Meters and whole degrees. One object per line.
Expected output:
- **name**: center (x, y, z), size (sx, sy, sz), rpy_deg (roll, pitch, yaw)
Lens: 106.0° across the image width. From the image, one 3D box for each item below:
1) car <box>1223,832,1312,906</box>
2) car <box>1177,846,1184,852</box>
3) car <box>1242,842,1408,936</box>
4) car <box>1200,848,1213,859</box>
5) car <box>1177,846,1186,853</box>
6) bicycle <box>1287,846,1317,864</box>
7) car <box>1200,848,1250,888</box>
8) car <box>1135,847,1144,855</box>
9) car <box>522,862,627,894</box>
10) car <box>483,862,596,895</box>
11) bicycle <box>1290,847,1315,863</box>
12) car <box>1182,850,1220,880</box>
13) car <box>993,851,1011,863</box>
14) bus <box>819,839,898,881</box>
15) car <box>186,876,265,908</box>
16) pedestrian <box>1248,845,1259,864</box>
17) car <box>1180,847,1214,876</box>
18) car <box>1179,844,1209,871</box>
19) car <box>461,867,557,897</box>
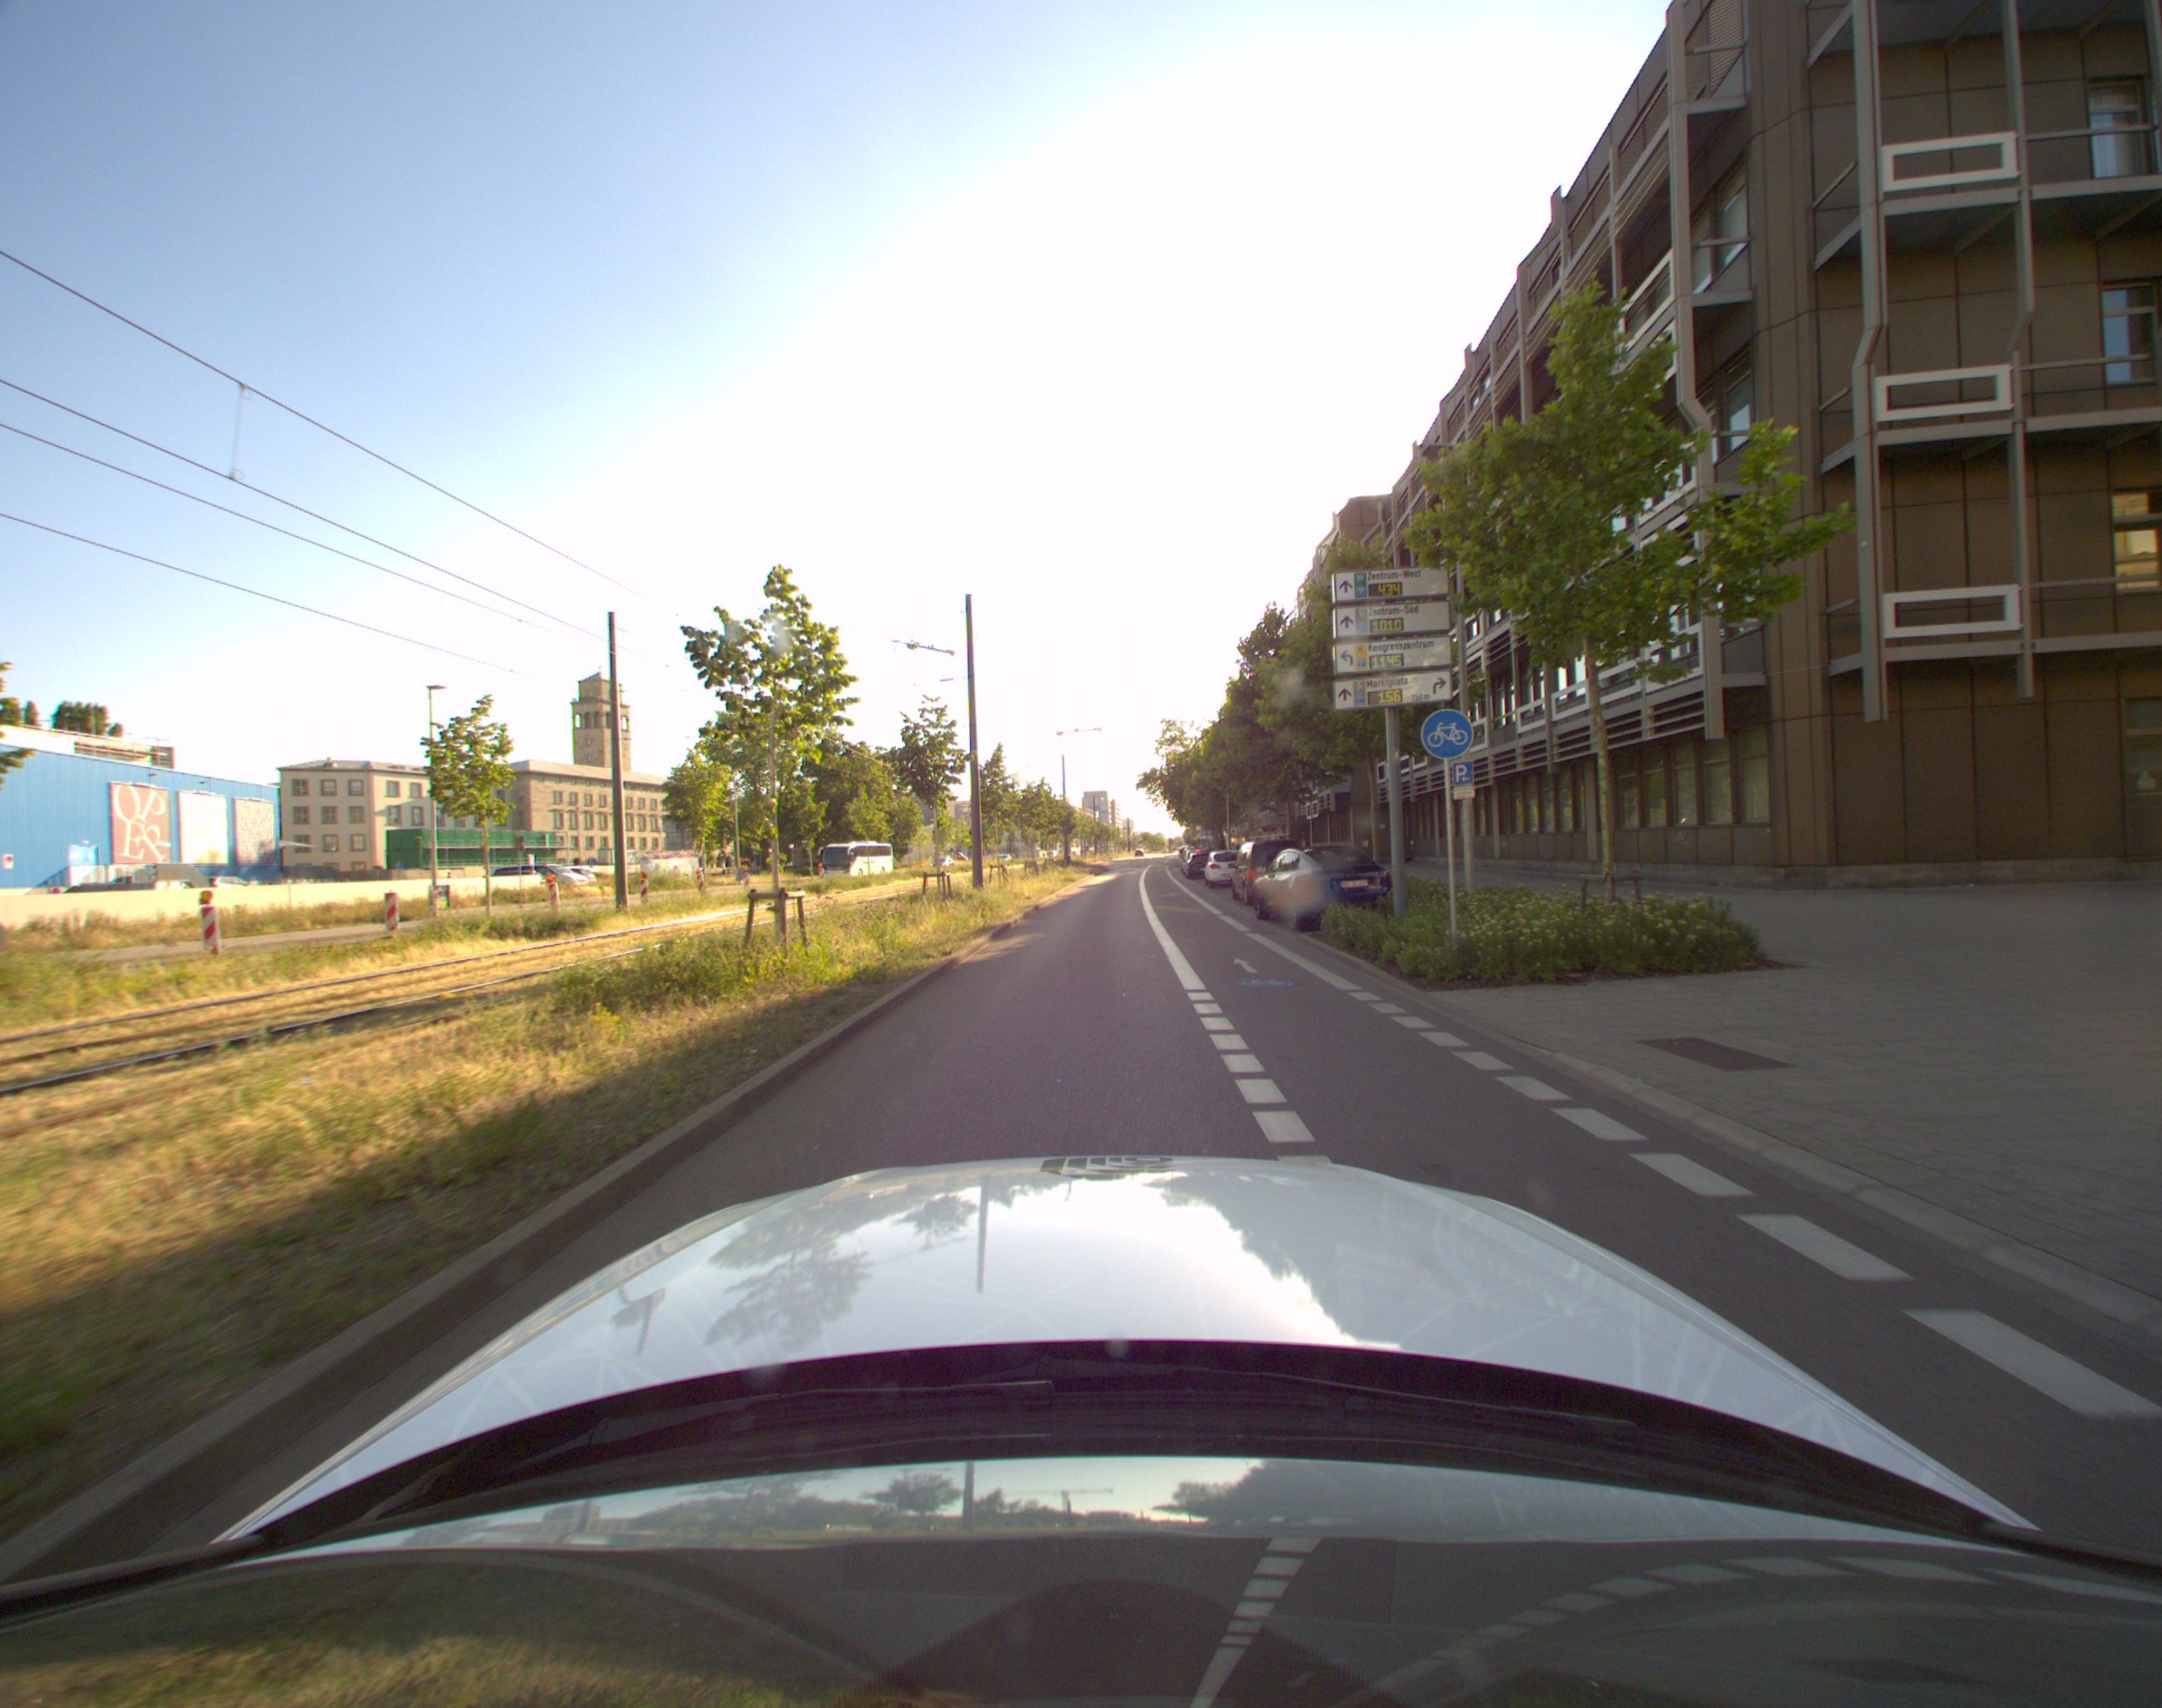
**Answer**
- **car**: center (5.501, 0.398, 24.556), size (1.728, 1.919, 4.396), rpy_deg (-4, 0, 3)
- **car**: center (27.245, -1.316, 222.384), size (1.750, 1.484, 3.856), rpy_deg (-2, 0, 6)
- **car**: center (4.946, 0.636, 17.288), size (1.926, 1.598, 4.696), rpy_deg (-4, 0, -1)
- **car**: center (18.113, -0.053, 117.619), size (1.697, 1.418, 4.286), rpy_deg (-4, 0, 8)
- **car**: center (22.594, -1.022, 182.658), size (1.930, 1.428, 3.932), rpy_deg (-2, 0, 6)
- **bicycle**: center (15.016, 0.086, 55.350), size (1.894, 1.093, 0.392), rpy_deg (-3, 0, -1)
- **car**: center (6.018, 0.534, 34.402), size (1.655, 1.490, 4.210), rpy_deg (-4, 0, 6)
- **car**: center (11.442, -0.544, 159.080), size (1.768, 1.428, 4.007), rpy_deg (-1, 0, 6)
- **car**: center (-31.529, 1.475, 50.778), size (5.204, 1.717, 2.127), rpy_deg (-2, 0, 3)
- **car**: center (-31.869, 1.434, 48.012), size (5.204, 1.717, 2.127), rpy_deg (-2, 0, 3)
- **bicycle**: center (15.634, 0.068, 57.589), size (1.618, 1.082, 0.393), rpy_deg (-3, 0, 7)
- **car**: center (6.642, 0.574, 45.431), size (1.786, 1.449, 4.383), rpy_deg (-4, 0, 5)
- **car**: center (-11.827, 0.484, 121.948), size (1.984, 1.643, 4.173), rpy_deg (-2, 0, 5)
- **bus**: center (-20.790, 0.504, 77.167), size (2.785, 3.594, 12.718), rpy_deg (-2, 0, 5)
- **car**: center (-50.358, 2.197, 48.053), size (1.412, 1.636, 4.196), rpy_deg (-2, 0, -20)
- **pedestrian**: center (15.227, 0.041, 72.023), size (0.785, 1.648, 1.138), rpy_deg (-3, 0, 5)
- **car**: center (7.227, 0.436, 51.047), size (1.720, 1.621, 4.221), rpy_deg (-4, 0, 4)
- **car**: center (7.876, 0.190, 56.963), size (1.720, 1.688, 4.520), rpy_deg (-4, 0, 4)
- **car**: center (-32.015, 1.554, 45.635), size (3.969, 1.485, 2.002), rpy_deg (-2, 0, 3)
